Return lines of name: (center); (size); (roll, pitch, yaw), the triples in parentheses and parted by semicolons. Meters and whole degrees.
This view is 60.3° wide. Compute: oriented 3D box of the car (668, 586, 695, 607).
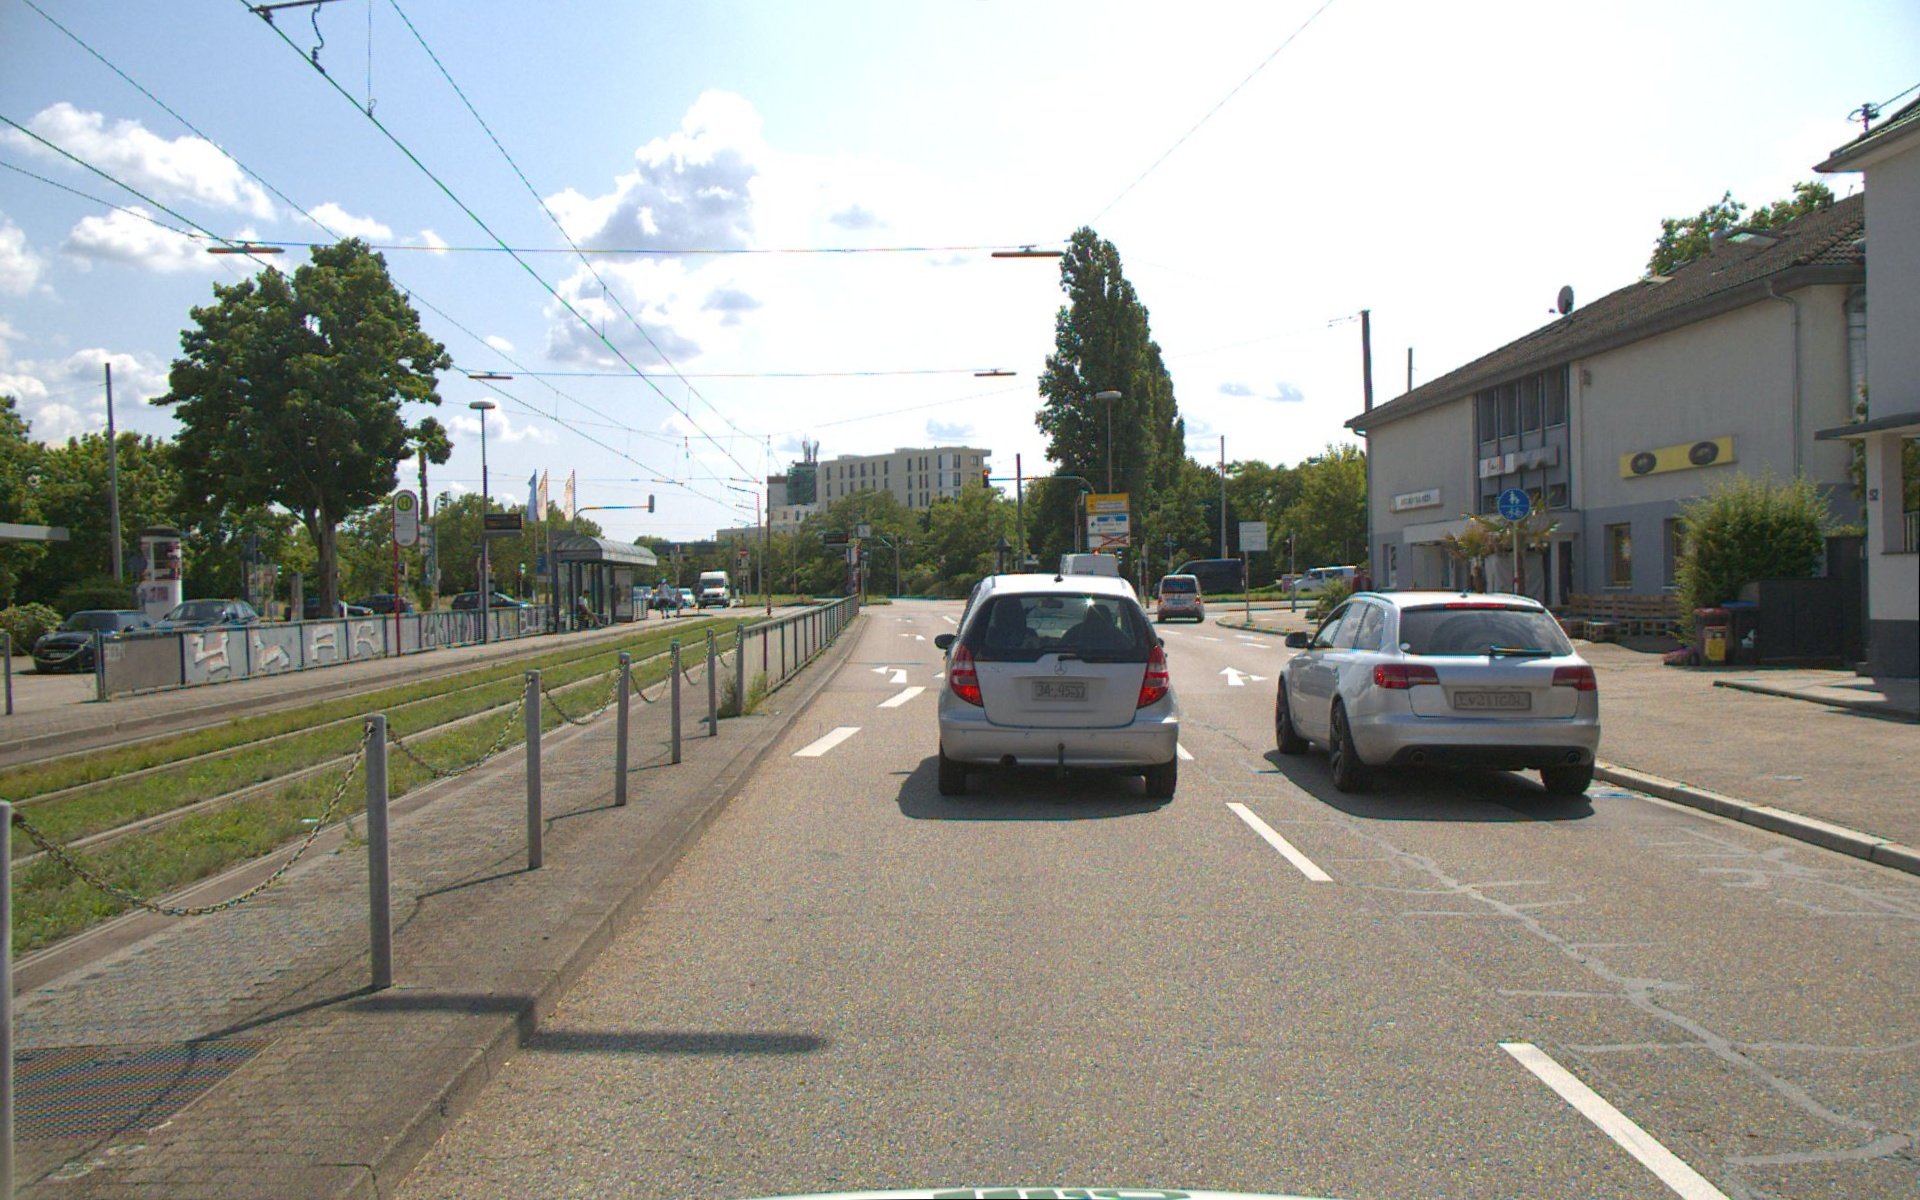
car: (-21.266, -0.256, 126.239); (1.767, 1.568, 4.159); (0, 0, -6)

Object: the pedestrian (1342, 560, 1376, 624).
pedestrian: (11.724, -0.244, 48.608); (0.707, 1.813, 0.703); (-4, 0, 0)

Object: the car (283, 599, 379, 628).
car: (-33.713, 0.713, 88.779); (4.368, 1.540, 2.000); (0, 0, 1)

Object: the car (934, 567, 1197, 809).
car: (0.807, 0.569, 13.214); (1.750, 1.604, 4.096); (-1, 1, 3)

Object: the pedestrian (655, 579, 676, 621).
pedestrian: (-12.984, -0.015, 72.896); (0.791, 1.826, 0.708); (-1, 0, -5)

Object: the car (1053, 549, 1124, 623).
car: (4.749, -0.536, 61.849); (2.000, 2.602, 5.228); (-1, 1, -3)

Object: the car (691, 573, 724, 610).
car: (-18.058, -0.613, 118.582); (1.954, 2.651, 4.874); (0, 0, -5)

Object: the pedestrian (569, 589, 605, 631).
pedestrian: (-12.678, 0.337, 56.268); (1.037, 1.400, 0.860); (0, 0, -3)

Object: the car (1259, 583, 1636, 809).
car: (3.729, 0.632, 13.522); (1.816, 1.518, 4.537); (0, 1, 1)

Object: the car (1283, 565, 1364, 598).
car: (22.242, -1.152, 101.336); (4.579, 1.970, 2.001); (-1, 1, 2)

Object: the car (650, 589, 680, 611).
car: (-20.987, -0.018, 117.712); (1.860, 1.568, 3.724); (0, 0, -6)

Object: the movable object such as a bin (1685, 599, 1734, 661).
movable object such as a bin: (11.332, 0.454, 25.013); (0.436, 0.910, 0.545); (-2, 1, -7)

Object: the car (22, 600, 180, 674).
car: (-20.641, 0.855, 39.929); (1.750, 1.611, 3.930); (-1, 1, -1)

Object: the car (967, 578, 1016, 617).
car: (1.250, -0.126, 67.064); (1.710, 1.525, 4.378); (0, 1, -2)

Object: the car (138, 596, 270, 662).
car: (-20.991, 0.770, 46.151); (2.021, 1.642, 4.745); (-2, 1, -8)

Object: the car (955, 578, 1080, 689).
car: (0.832, 0.429, 25.026); (1.703, 1.518, 4.630); (0, 1, 1)

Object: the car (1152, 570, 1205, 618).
car: (8.489, -0.226, 64.048); (1.845, 1.761, 4.098); (-2, 0, 9)

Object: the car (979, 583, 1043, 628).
car: (1.679, 0.151, 55.634); (1.832, 1.444, 4.098); (0, 1, -2)

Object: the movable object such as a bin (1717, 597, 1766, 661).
movable object such as a bin: (11.825, 0.435, 25.034); (0.432, 0.951, 0.549); (-1, 1, -7)
